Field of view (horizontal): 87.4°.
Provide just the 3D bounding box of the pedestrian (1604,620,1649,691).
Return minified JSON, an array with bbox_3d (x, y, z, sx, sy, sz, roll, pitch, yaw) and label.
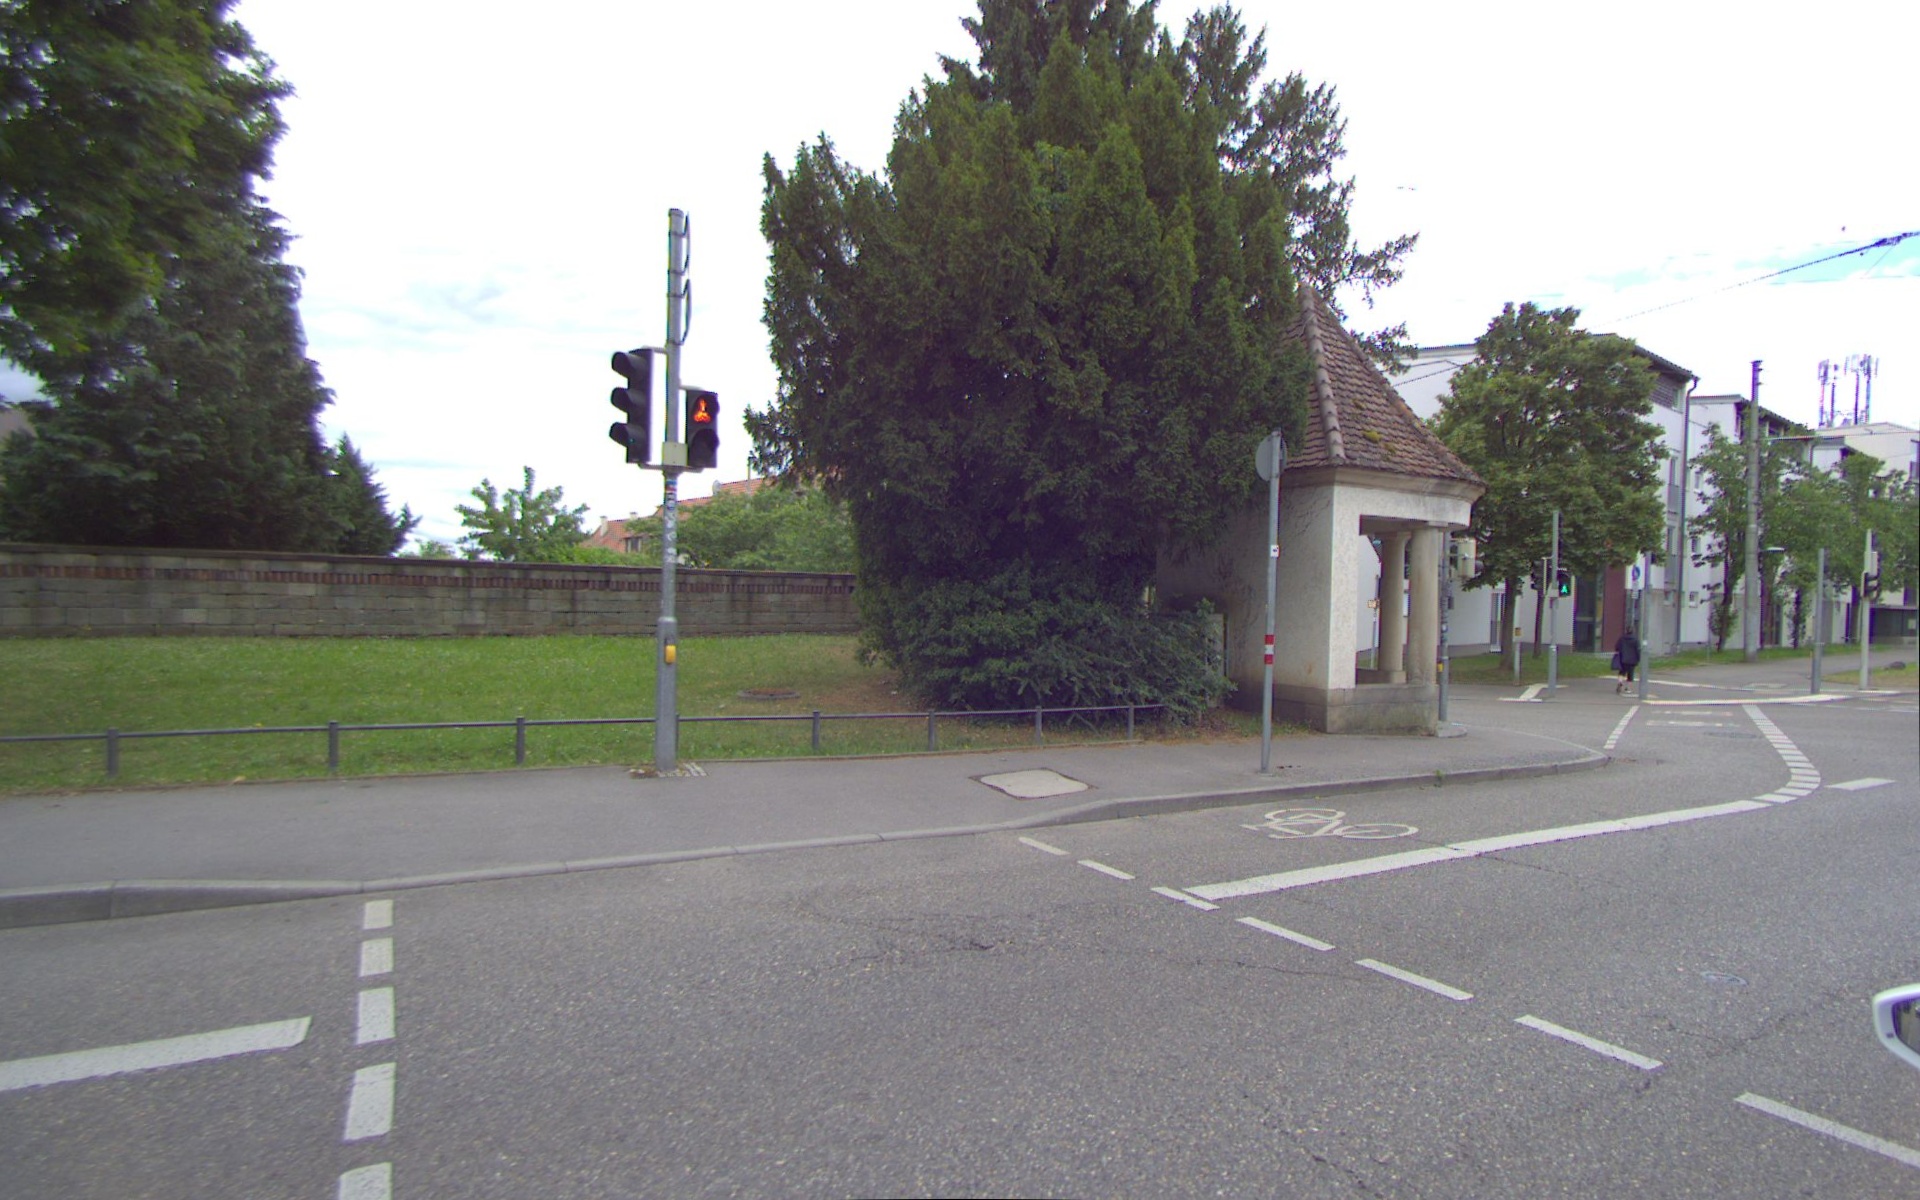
[{"bbox_3d":[16.294,1.344,24.563,0.811,1.666,0.670,-2,1,-35],"label":"pedestrian"}]
